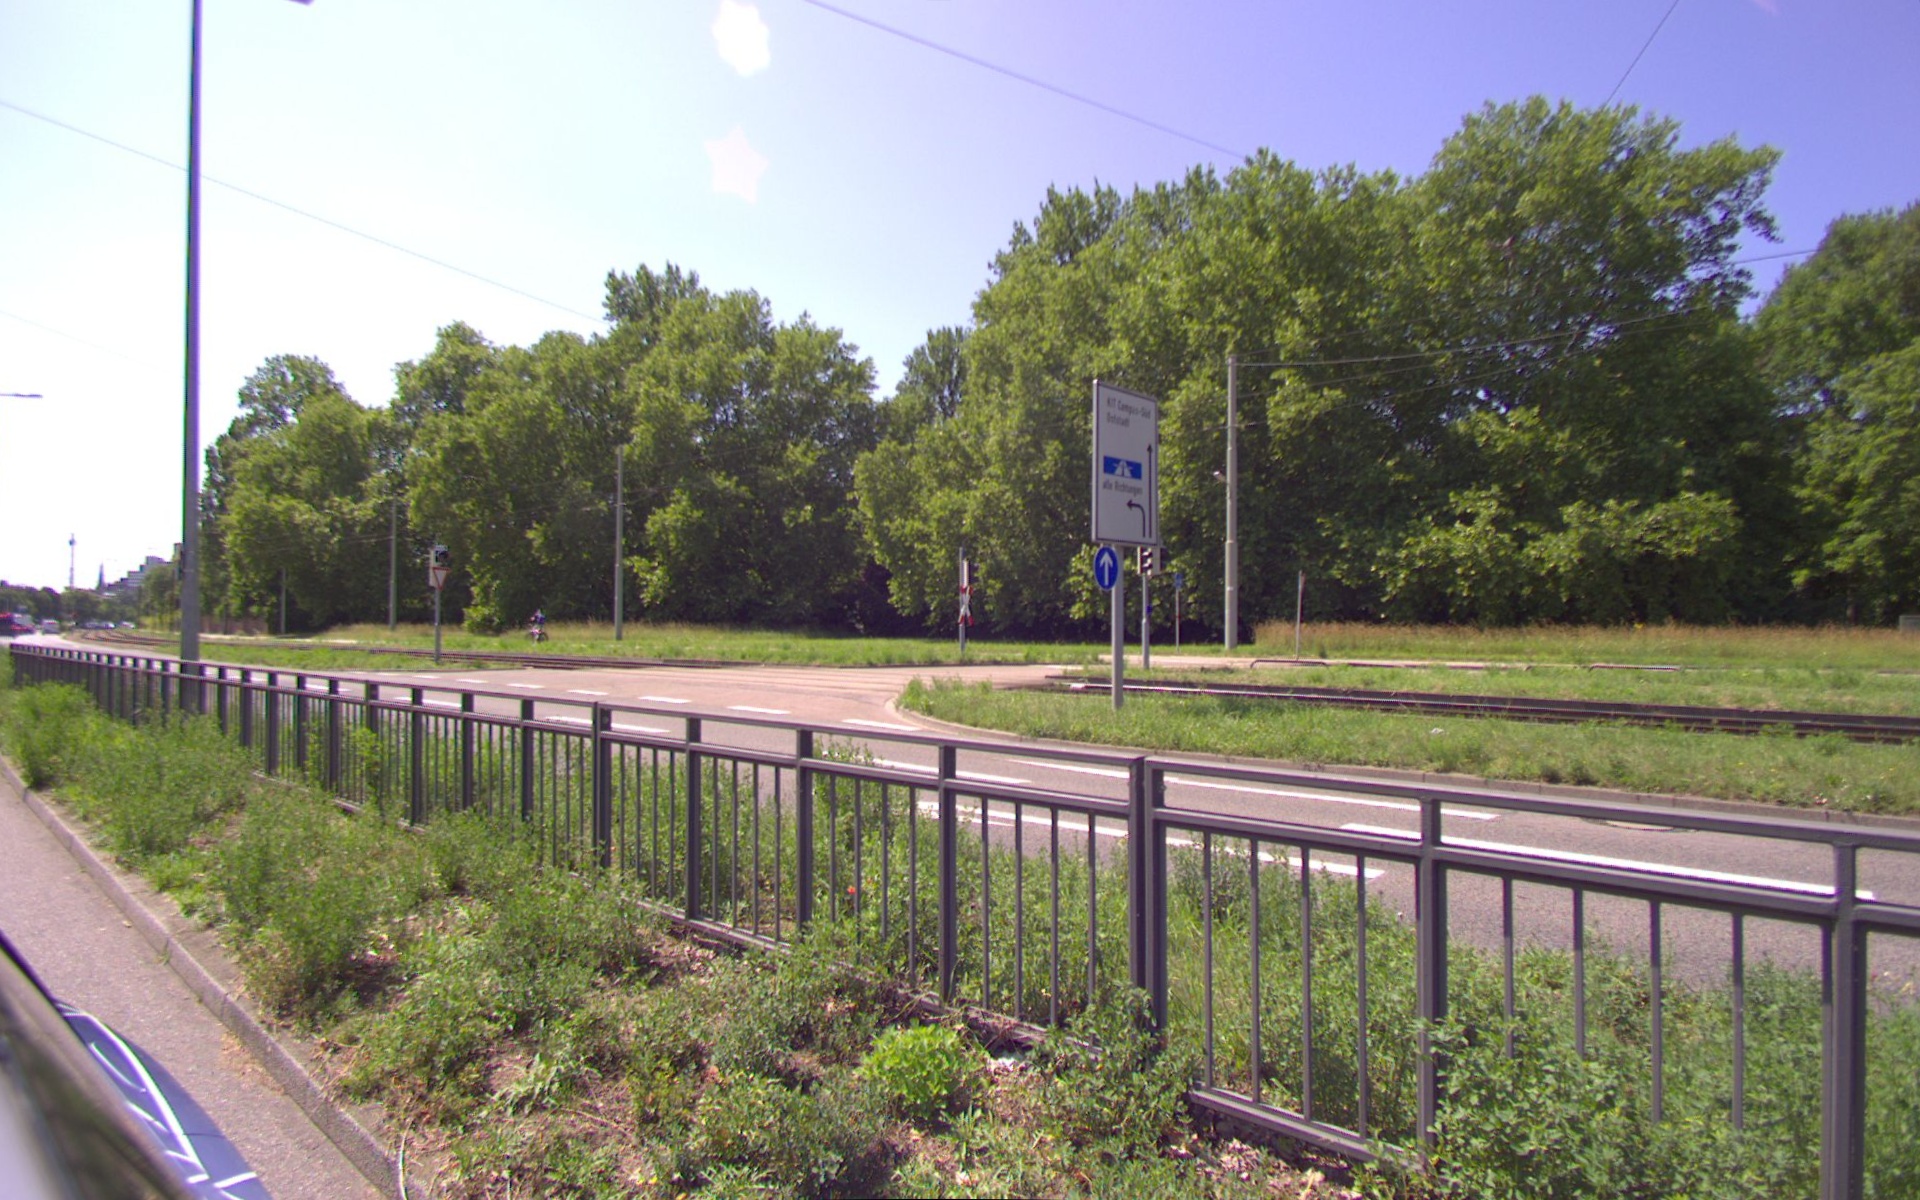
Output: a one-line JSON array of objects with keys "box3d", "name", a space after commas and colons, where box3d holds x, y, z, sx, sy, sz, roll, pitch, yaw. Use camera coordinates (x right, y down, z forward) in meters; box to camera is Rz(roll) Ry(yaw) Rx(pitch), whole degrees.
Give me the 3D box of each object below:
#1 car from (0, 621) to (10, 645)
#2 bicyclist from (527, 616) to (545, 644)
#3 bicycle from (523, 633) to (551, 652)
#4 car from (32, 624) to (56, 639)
[{"box3d": [-97.696, 3.321, 102.276, 5.372, 2.384, 1.972, -2, -3, 43], "name": "car"}, {"box3d": [-20.604, 1.453, 49.157, 0.679, 1.346, 0.503, -1, -1, 36], "name": "bicyclist"}, {"box3d": [-20.539, 2.053, 49.104, 1.563, 0.908, 0.503, -1, -1, 36], "name": "bicycle"}, {"box3d": [-127.442, 4.372, 140.763, 5.029, 2.029, 1.972, -2, -4, 43], "name": "car"}]
